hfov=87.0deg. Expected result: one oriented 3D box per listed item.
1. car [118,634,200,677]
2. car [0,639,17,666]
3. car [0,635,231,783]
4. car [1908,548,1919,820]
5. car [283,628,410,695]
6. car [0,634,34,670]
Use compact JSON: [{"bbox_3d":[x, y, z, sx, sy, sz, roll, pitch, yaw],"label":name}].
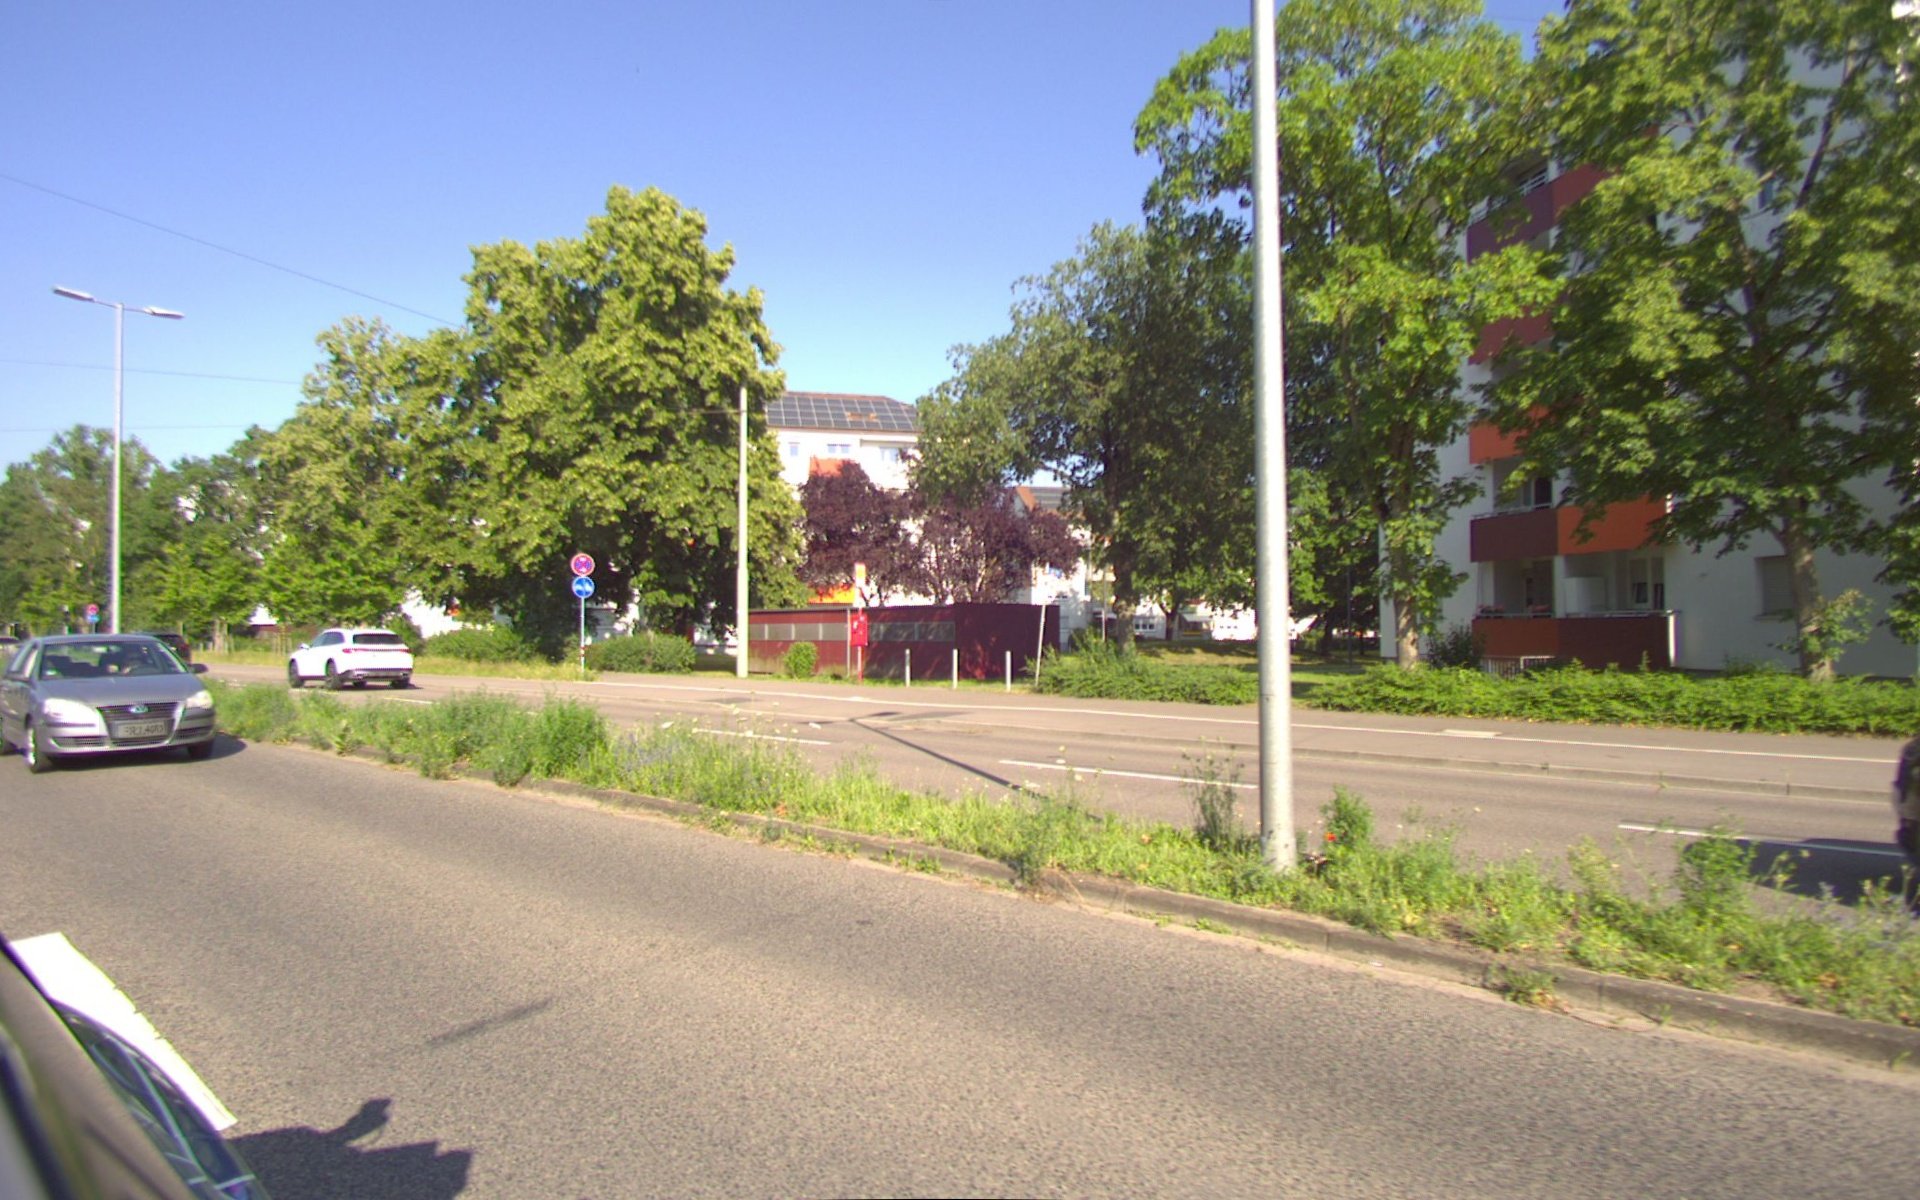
[{"bbox_3d":[-32.846,2.272,41.474,4.044,1.692,1.752,-2,-4,39],"label":"car"},{"bbox_3d":[-62.459,3.398,65.327,4.044,1.692,1.752,-2,-4,39],"label":"car"},{"bbox_3d":[-10.212,1.168,12.041,3.831,1.439,1.671,-2,-2,41],"label":"car"},{"bbox_3d":[6.783,0.548,3.848,4.477,1.798,1.772,-2,-4,40],"label":"car"},{"bbox_3d":[-16.913,1.668,27.819,4.512,1.692,1.642,-2,-4,41],"label":"car"},{"bbox_3d":[-46.349,2.516,48.884,4.044,1.692,1.752,-2,-4,39],"label":"car"}]
